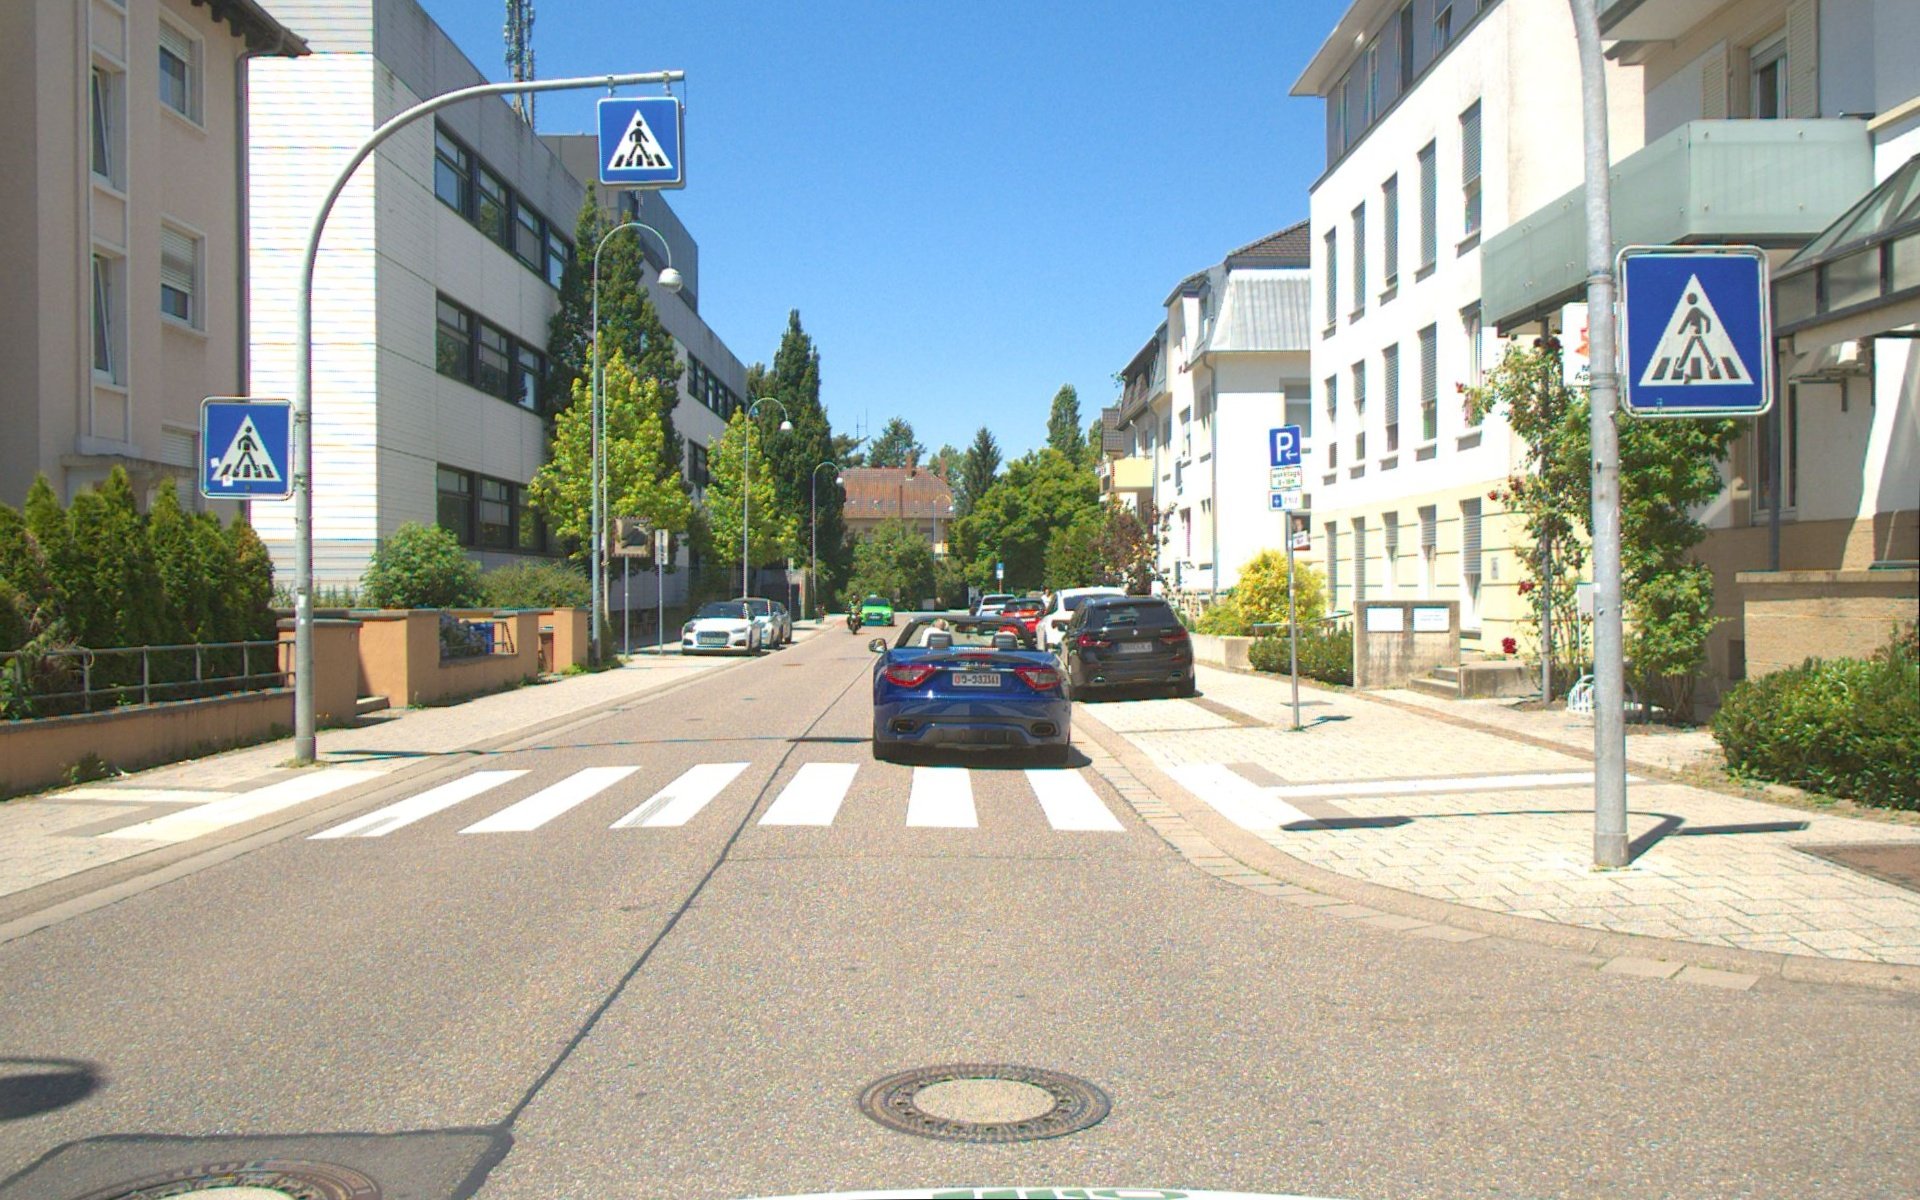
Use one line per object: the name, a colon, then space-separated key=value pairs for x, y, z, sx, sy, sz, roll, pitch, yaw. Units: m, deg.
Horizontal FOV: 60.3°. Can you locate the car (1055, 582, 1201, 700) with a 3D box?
car: x=2.507 y=0.562 z=25.683 sx=1.670 sy=1.583 sz=4.747 roll=-2 pitch=0 yaw=-1

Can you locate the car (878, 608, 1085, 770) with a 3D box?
car: x=0.149 y=0.795 z=16.849 sx=1.789 sy=1.360 sz=4.699 roll=1 pitch=0 yaw=-1

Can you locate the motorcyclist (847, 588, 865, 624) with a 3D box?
motorcyclist: x=-4.268 y=0.258 z=67.982 sx=0.684 sy=1.458 sz=0.707 roll=-2 pitch=0 yaw=-1

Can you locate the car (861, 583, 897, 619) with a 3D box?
car: x=-4.157 y=0.035 z=84.457 sx=1.786 sy=1.615 sz=4.098 roll=0 pitch=3 yaw=-4

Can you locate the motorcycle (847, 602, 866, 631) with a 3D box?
motorcycle: x=-4.257 y=0.677 z=68.180 sx=0.684 sy=1.126 sz=1.790 roll=-2 pitch=0 yaw=-1

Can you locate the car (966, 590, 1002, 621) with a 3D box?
car: x=1.210 y=0.275 z=84.646 sx=1.599 sy=1.471 sz=4.397 roll=-3 pitch=0 yaw=-1

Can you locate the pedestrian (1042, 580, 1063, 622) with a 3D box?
pedestrian: x=3.801 y=0.033 z=68.048 sx=0.725 sy=1.698 sz=0.705 roll=-3 pitch=0 yaw=-3

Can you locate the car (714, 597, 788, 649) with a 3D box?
car: x=-6.414 y=0.671 z=51.092 sx=1.785 sy=1.538 sz=4.288 roll=0 pitch=0 yaw=-1

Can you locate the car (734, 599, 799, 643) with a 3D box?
car: x=-6.555 y=0.687 z=56.302 sx=1.712 sy=1.433 sz=3.933 roll=-1 pitch=0 yaw=0

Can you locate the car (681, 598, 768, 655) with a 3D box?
car: x=-6.434 y=0.694 z=45.582 sx=1.785 sy=1.436 sz=4.576 roll=1 pitch=0 yaw=-1

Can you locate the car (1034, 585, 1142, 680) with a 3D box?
car: x=2.383 y=0.561 z=31.703 sx=1.670 sy=1.695 sz=4.579 roll=0 pitch=0 yaw=-1

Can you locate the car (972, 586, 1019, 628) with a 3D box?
car: x=1.471 y=0.279 z=70.035 sx=1.806 sy=1.647 sz=4.427 roll=-2 pitch=0 yaw=-1

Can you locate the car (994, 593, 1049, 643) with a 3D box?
car: x=1.959 y=0.555 z=53.371 sx=1.571 sy=1.466 sz=3.853 roll=-3 pitch=0 yaw=0
